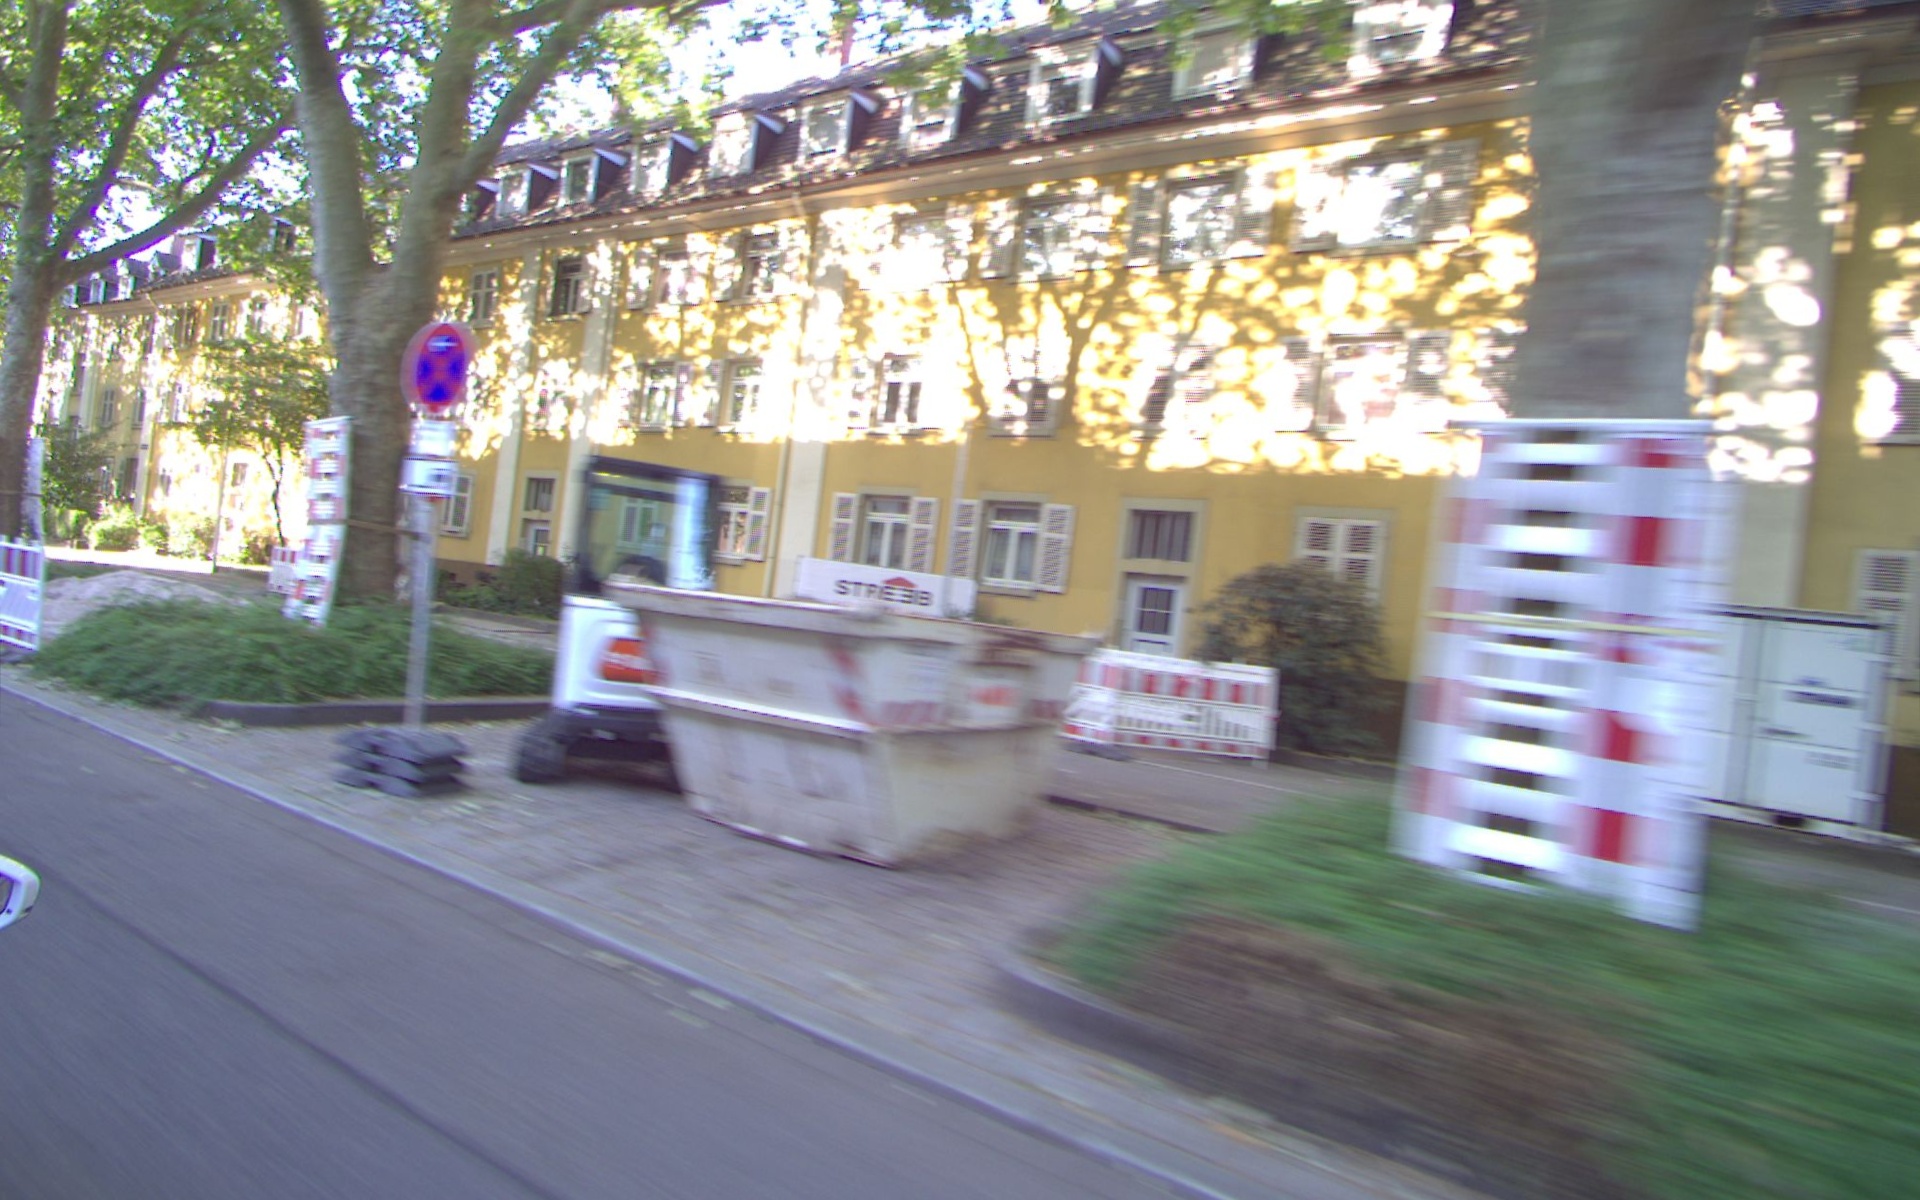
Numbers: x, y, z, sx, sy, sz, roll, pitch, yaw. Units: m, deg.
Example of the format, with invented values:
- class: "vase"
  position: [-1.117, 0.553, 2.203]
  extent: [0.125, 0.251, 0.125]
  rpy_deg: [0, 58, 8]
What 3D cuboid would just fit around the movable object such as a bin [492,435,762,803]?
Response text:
- class: "movable object such as a bin"
  position: [-2.853, 0.133, 8.189]
  extent: [1.468, 2.296, 3.257]
  rpy_deg: [7, -1, -25]
